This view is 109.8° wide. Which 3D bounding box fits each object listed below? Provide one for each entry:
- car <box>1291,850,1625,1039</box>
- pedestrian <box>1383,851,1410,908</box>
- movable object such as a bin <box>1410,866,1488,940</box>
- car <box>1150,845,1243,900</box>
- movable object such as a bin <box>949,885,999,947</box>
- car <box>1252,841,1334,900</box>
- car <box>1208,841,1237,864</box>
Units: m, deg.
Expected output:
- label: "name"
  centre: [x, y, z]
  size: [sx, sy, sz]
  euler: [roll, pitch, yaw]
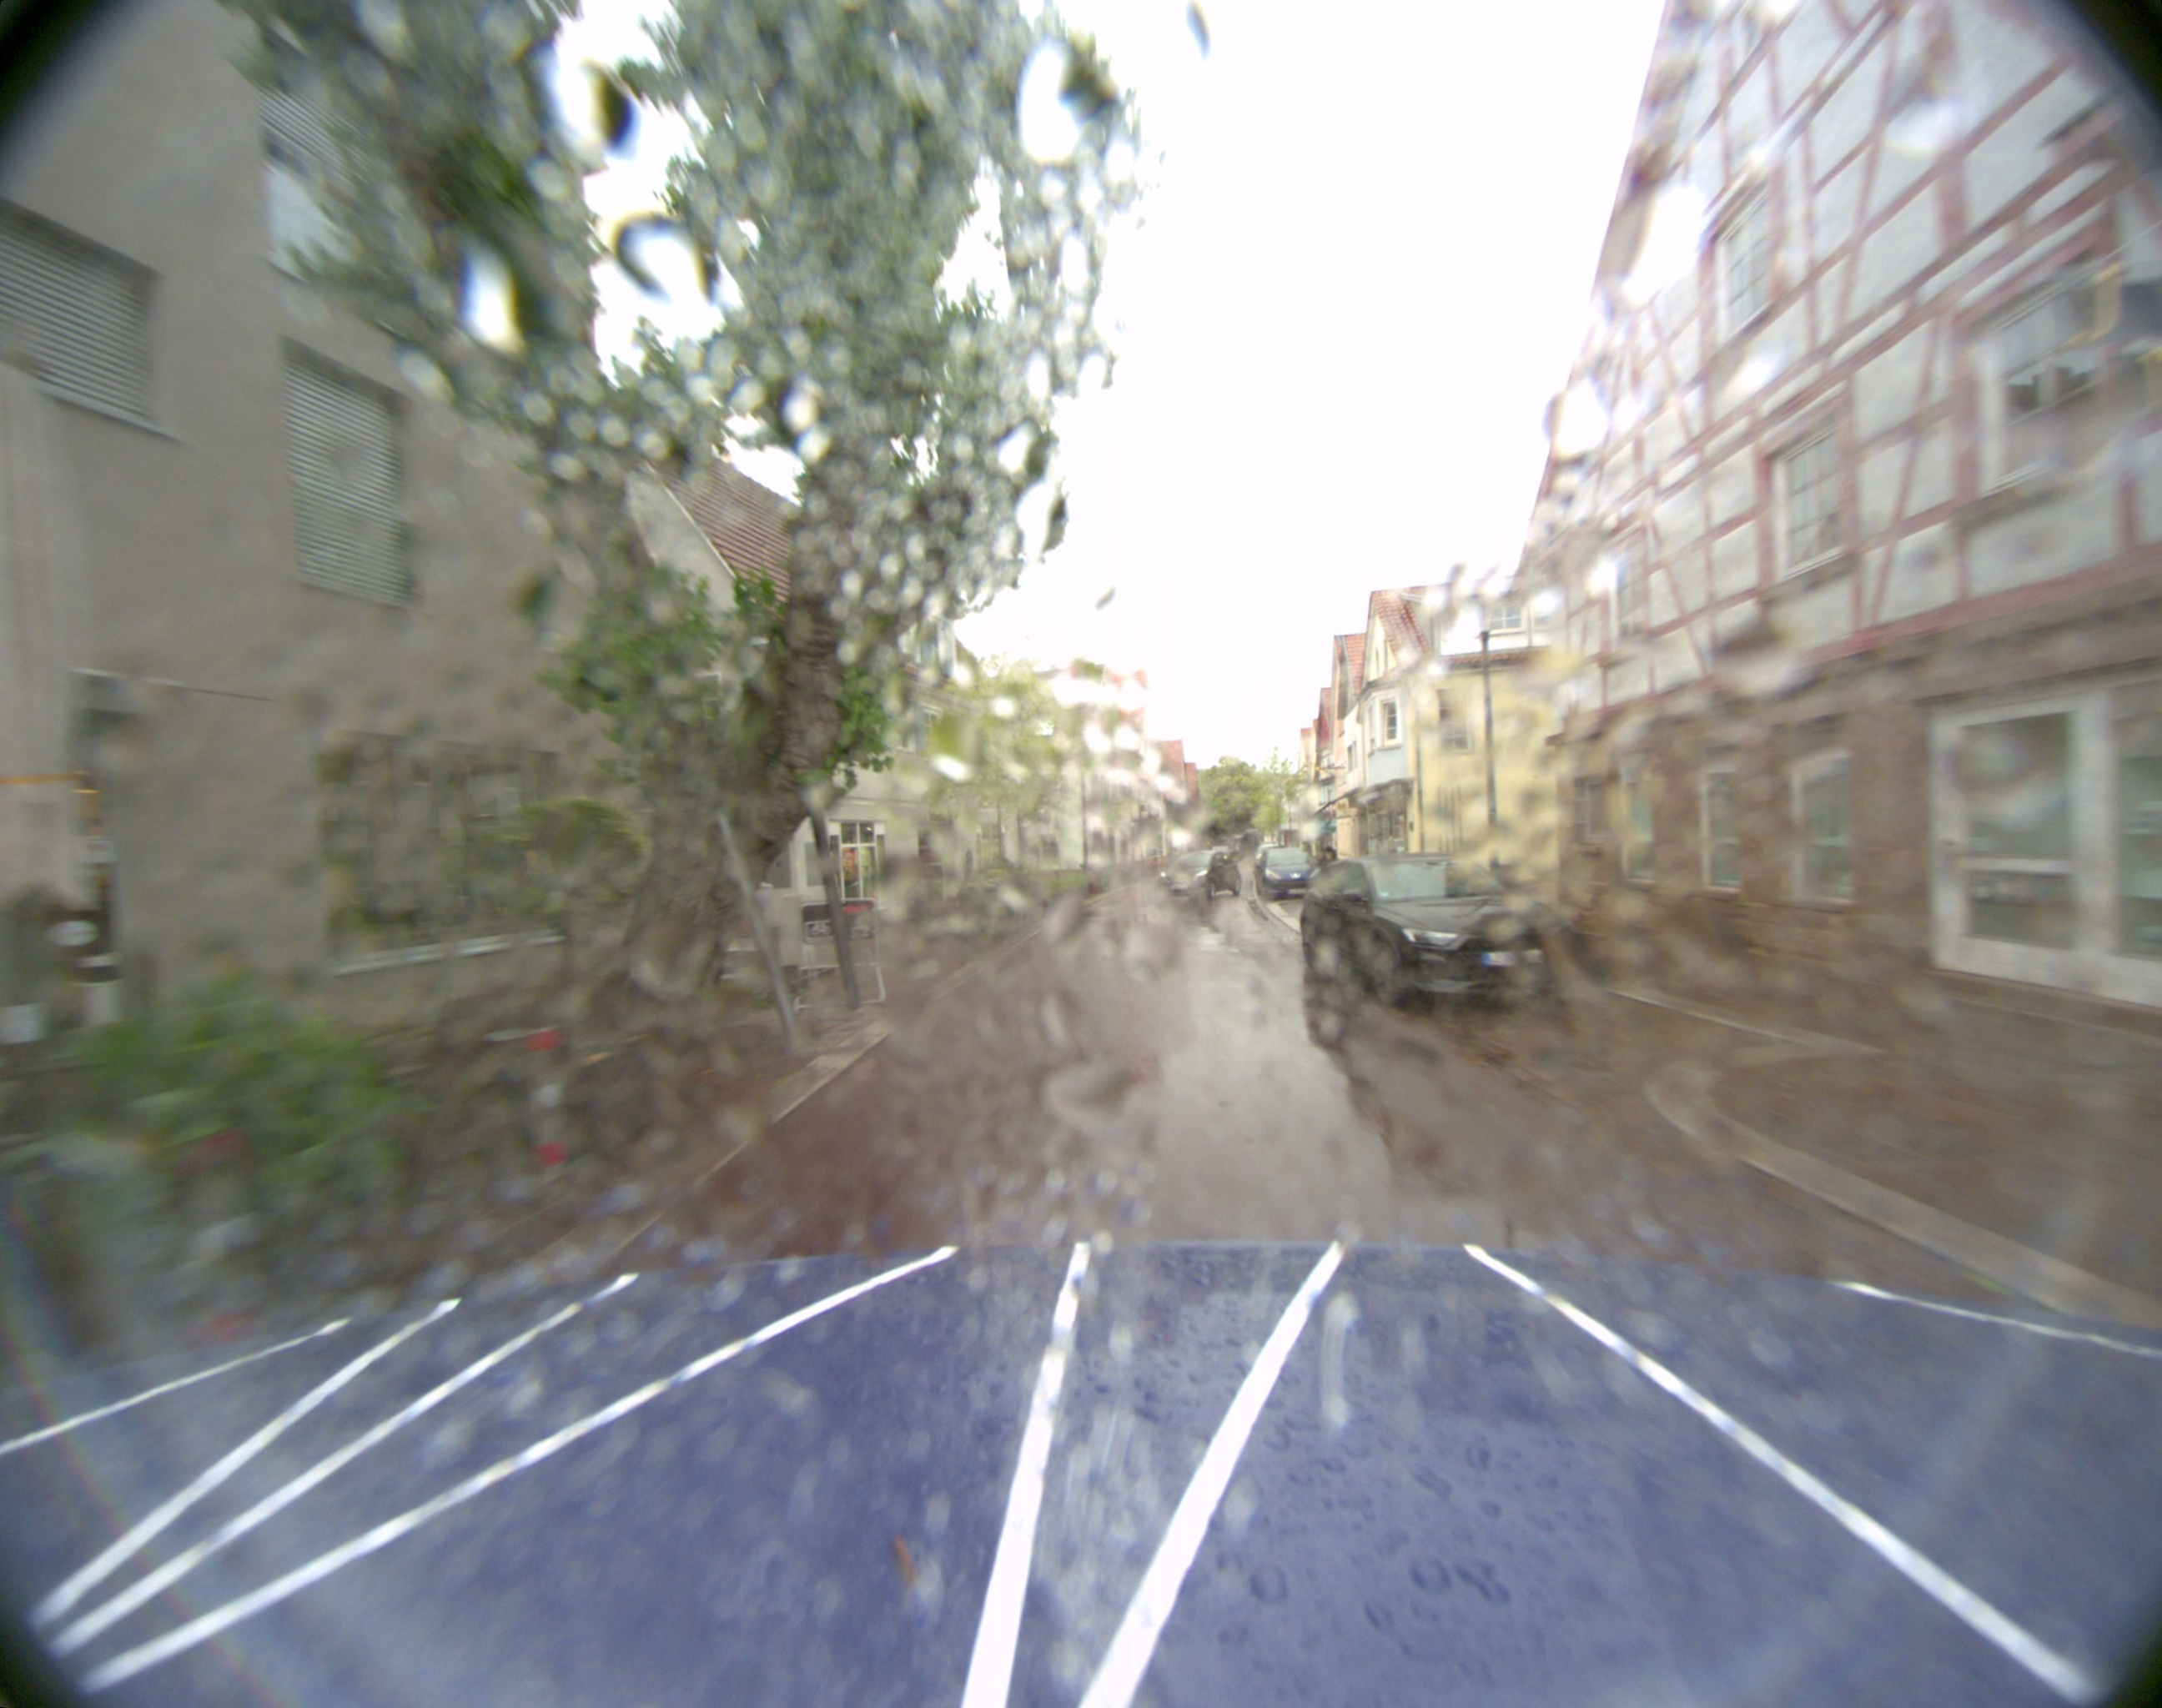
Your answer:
- label: "car"
  centre: [3.753, 0.761, 8.446]
  size: [1.694, 1.477, 4.000]
  euler: [-4, 1, 1]
- label: "pedestrian"
  centre: [7.343, 0.591, 17.701]
  size: [0.455, 1.300, 0.517]
  euler: [-2, 1, 11]
- label: "movable object such as a bin"
  centre: [5.932, 0.766, 12.297]
  size: [0.834, 1.105, 0.919]
  euler: [-2, 1, 3]
- label: "car"
  centre: [3.779, 0.552, 24.383]
  size: [1.733, 1.547, 3.851]
  euler: [-2, 1, 28]
- label: "movable object such as a bin"
  centre: [-1.958, 1.133, 13.980]
  size: [0.765, 1.068, 0.537]
  euler: [-2, 1, 6]
- label: "car"
  centre: [6.444, 0.440, 23.560]
  size: [1.997, 1.520, 4.003]
  euler: [-5, 0, 11]
- label: "car"
  centre: [11.487, -0.142, 61.599]
  size: [1.996, 1.740, 4.003]
  euler: [-2, 1, 14]
